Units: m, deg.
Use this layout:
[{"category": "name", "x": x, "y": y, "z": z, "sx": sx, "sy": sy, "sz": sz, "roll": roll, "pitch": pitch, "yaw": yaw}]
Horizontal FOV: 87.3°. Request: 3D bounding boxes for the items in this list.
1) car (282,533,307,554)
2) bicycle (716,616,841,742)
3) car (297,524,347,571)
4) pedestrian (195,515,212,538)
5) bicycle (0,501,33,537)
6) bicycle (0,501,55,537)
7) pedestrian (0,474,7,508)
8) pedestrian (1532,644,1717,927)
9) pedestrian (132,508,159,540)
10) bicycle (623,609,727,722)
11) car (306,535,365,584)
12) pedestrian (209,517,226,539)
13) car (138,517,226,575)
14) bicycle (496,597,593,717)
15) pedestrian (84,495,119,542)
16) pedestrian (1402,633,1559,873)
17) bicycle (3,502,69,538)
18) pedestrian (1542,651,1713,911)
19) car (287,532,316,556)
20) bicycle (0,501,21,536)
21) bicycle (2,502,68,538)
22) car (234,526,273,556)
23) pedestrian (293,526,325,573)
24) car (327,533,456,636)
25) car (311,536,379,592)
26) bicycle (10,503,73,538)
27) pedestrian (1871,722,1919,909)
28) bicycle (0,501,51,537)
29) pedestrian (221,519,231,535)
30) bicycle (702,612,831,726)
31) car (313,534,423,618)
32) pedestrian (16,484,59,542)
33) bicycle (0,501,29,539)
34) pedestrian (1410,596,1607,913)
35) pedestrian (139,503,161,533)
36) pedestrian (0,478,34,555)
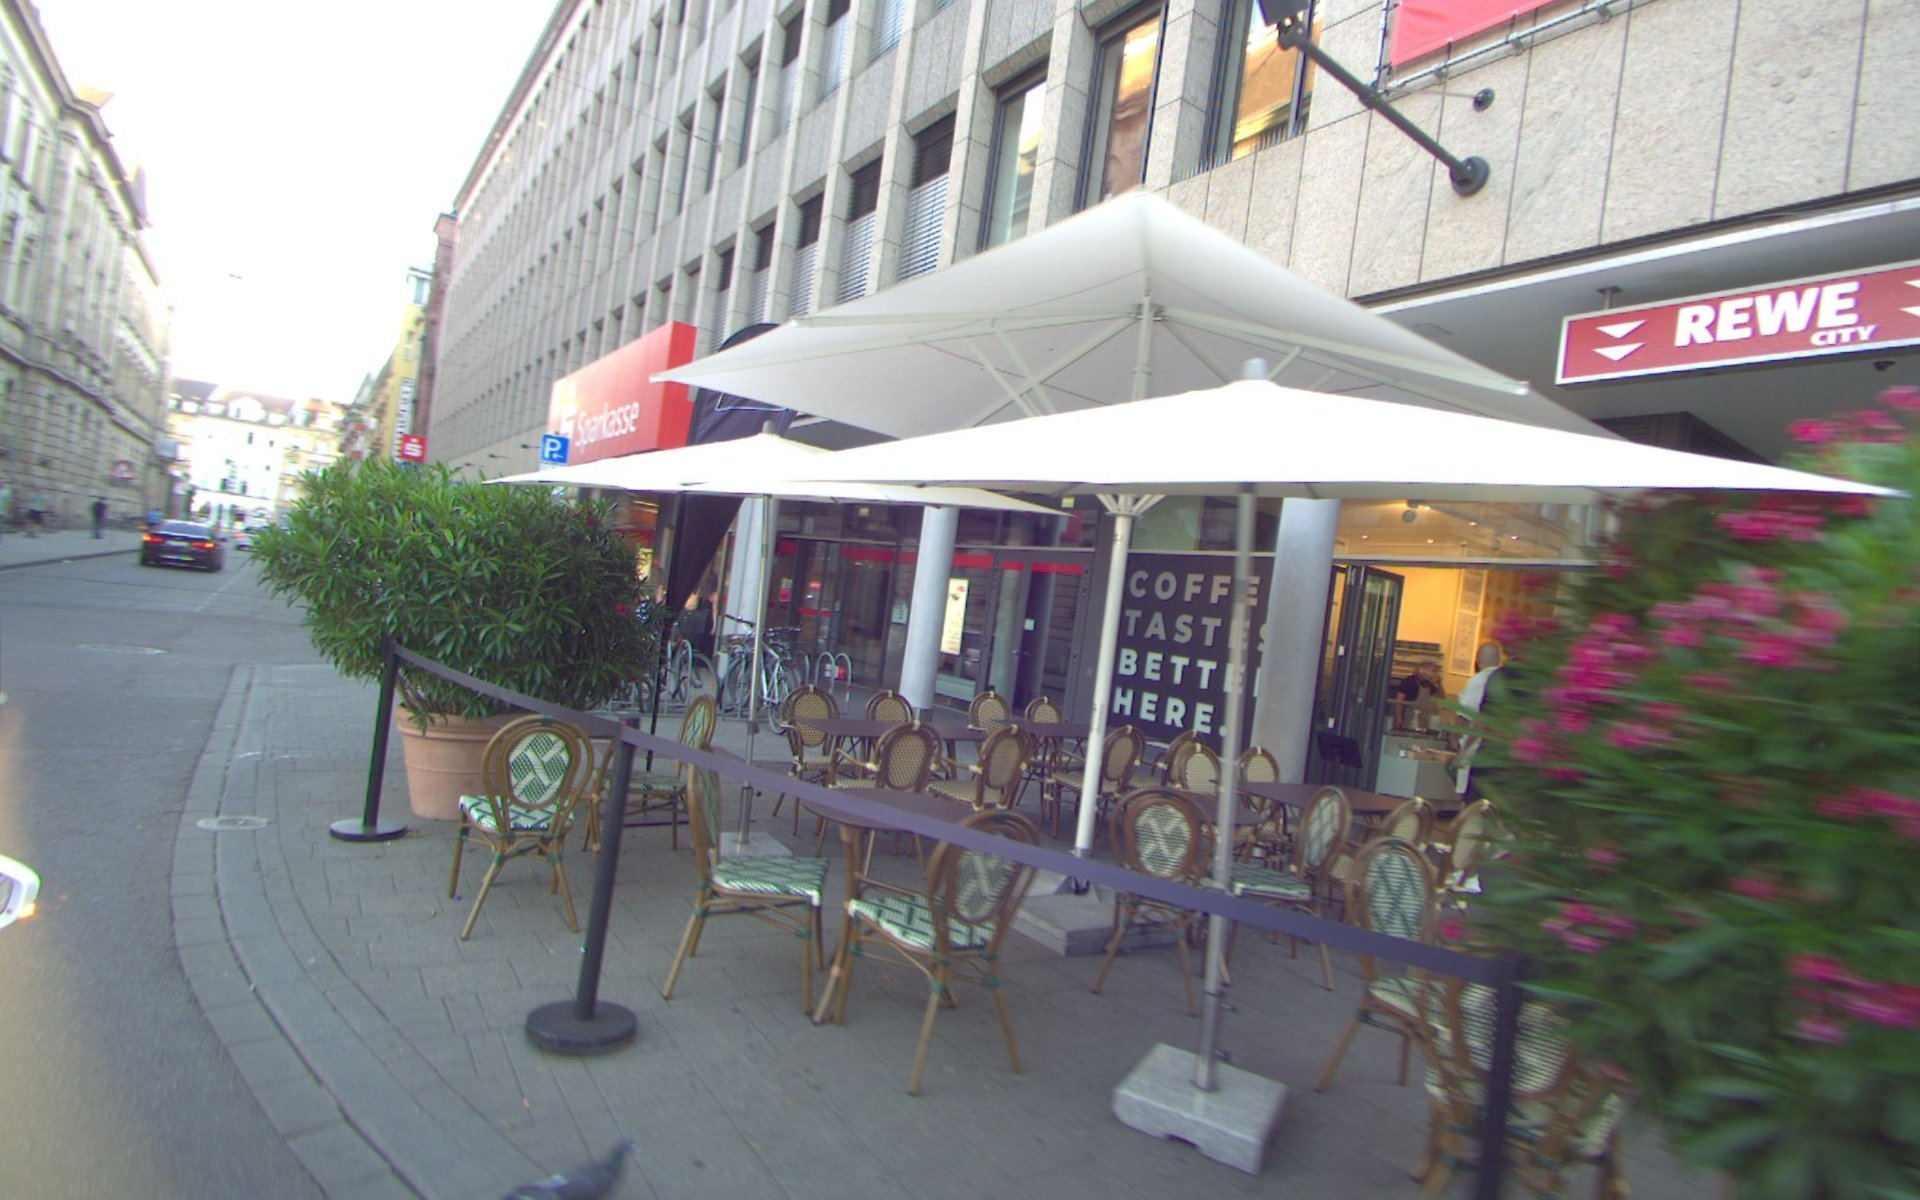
[{"category": "car", "x": -58.914, "y": -4.983, "z": 89.079, "sx": 1.636, "sy": 1.539, "sz": 3.254, "roll": 11, "pitch": -3, "yaw": -34}, {"category": "bicycle", "x": -2.018, "y": 0.829, "z": 10.967, "sx": 0.541, "sy": 1.131, "sz": 1.796, "roll": 6, "pitch": 0, "yaw": -35}, {"category": "car", "x": -33.665, "y": -2.789, "z": 53.064, "sx": 1.861, "sy": 2.040, "sz": 3.731, "roll": 11, "pitch": -3, "yaw": -34}, {"category": "pedestrian", "x": -66.473, "y": -6.460, "z": 88.393, "sx": 0.930, "sy": 1.770, "sz": 0.802, "roll": 12, "pitch": -3, "yaw": -38}, {"category": "bicycle", "x": -32.319, "y": -2.805, "z": 33.726, "sx": 1.672, "sy": 1.053, "sz": 0.482, "roll": 11, "pitch": -2, "yaw": -36}, {"category": "bicycle", "x": -34.389, "y": -2.979, "z": 36.863, "sx": 1.672, "sy": 1.053, "sz": 0.482, "roll": 11, "pitch": -2, "yaw": -36}, {"category": "pedestrian", "x": -22.148, "y": -2.005, "z": 22.593, "sx": 0.695, "sy": 1.831, "sz": 0.965, "roll": 12, "pitch": -3, "yaw": -37}, {"category": "pedestrian", "x": 4.669, "y": 1.281, "z": 7.082, "sx": 0.713, "sy": 1.808, "sz": 0.659, "roll": 8, "pitch": 1, "yaw": -34}, {"category": "pedestrian", "x": -47.204, "y": -4.403, "z": 58.338, "sx": 0.930, "sy": 1.653, "sz": 0.648, "roll": 12, "pitch": -3, "yaw": -37}, {"category": "bicycle", "x": -3.222, "y": 0.706, "z": 11.285, "sx": 0.555, "sy": 1.054, "sz": 1.670, "roll": 6, "pitch": 0, "yaw": -33}, {"category": "car", "x": -24.554, "y": -1.619, "z": 39.495, "sx": 1.636, "sy": 1.539, "sz": 3.254, "roll": 11, "pitch": -3, "yaw": -34}, {"category": "pedestrian", "x": -65.920, "y": -6.354, "z": 89.320, "sx": 0.930, "sy": 1.770, "sz": 0.802, "roll": 12, "pitch": -3, "yaw": -38}, {"category": "car", "x": -23.407, "y": -1.629, "z": 30.386, "sx": 1.760, "sy": 1.426, "sz": 4.014, "roll": 8, "pitch": -1, "yaw": -35}, {"category": "bicycle", "x": -4.382, "y": 0.570, "z": 10.555, "sx": 0.555, "sy": 1.054, "sz": 1.670, "roll": 6, "pitch": 0, "yaw": -33}, {"category": "pedestrian", "x": -35.602, "y": -3.379, "z": 41.730, "sx": 0.801, "sy": 1.770, "sz": 0.802, "roll": 12, "pitch": -3, "yaw": -37}, {"category": "pedestrian", "x": 4.379, "y": 1.281, "z": 8.483, "sx": 0.711, "sy": 1.871, "sz": 0.660, "roll": 8, "pitch": 1, "yaw": -29}, {"category": "bicycle", "x": -35.264, "y": -3.045, "z": 38.423, "sx": 1.672, "sy": 1.053, "sz": 0.482, "roll": 11, "pitch": -2, "yaw": -36}, {"category": "pedestrian", "x": 5.099, "y": 1.360, "z": 7.692, "sx": 0.713, "sy": 1.808, "sz": 0.659, "roll": 8, "pitch": 1, "yaw": -34}, {"category": "car", "x": -50.747, "y": -4.328, "z": 77.481, "sx": 1.636, "sy": 1.539, "sz": 3.254, "roll": 11, "pitch": -3, "yaw": -34}, {"category": "bicycle", "x": -31.713, "y": -2.760, "z": 32.615, "sx": 1.672, "sy": 1.053, "sz": 0.482, "roll": 11, "pitch": -2, "yaw": -36}, {"category": "bicycle", "x": -34.973, "y": -3.018, "z": 38.067, "sx": 1.672, "sy": 1.053, "sz": 0.482, "roll": 11, "pitch": -2, "yaw": -36}, {"category": "car", "x": -43.462, "y": -3.638, "z": 61.916, "sx": 1.785, "sy": 1.528, "sz": 3.962, "roll": 9, "pitch": -1, "yaw": -35}, {"category": "pedestrian", "x": -26.428, "y": -2.029, "z": 40.842, "sx": 0.716, "sy": 1.812, "sz": 0.820, "roll": 7, "pitch": 0, "yaw": -20}, {"category": "car", "x": -11.842, "y": -0.379, "z": 20.815, "sx": 1.762, "sy": 1.654, "sz": 4.014, "roll": 11, "pitch": -3, "yaw": -35}, {"category": "car", "x": -21.084, "y": -1.249, "z": 34.414, "sx": 1.636, "sy": 1.539, "sz": 3.254, "roll": 11, "pitch": -3, "yaw": -34}, {"category": "bicycle", "x": -36.008, "y": -3.111, "z": 39.456, "sx": 1.672, "sy": 1.053, "sz": 0.482, "roll": 11, "pitch": -2, "yaw": -36}, {"category": "pedestrian", "x": 9.556, "y": 2.135, "z": 9.900, "sx": 0.612, "sy": 1.752, "sz": 0.566, "roll": 8, "pitch": 1, "yaw": -35}, {"category": "bicycle", "x": -34.185, "y": -2.965, "z": 36.456, "sx": 1.672, "sy": 1.053, "sz": 0.482, "roll": 11, "pitch": -2, "yaw": -36}, {"category": "pedestrian", "x": -88.076, "y": -8.751, "z": 120.741, "sx": 0.663, "sy": 1.770, "sz": 0.674, "roll": 12, "pitch": -3, "yaw": -38}, {"category": "bicycle", "x": -2.343, "y": 0.795, "z": 12.020, "sx": 0.543, "sy": 1.131, "sz": 1.791, "roll": 6, "pitch": 0, "yaw": -43}, {"category": "car", "x": -15.126, "y": -0.659, "z": 25.606, "sx": 1.763, "sy": 1.654, "sz": 4.048, "roll": 11, "pitch": -3, "yaw": -37}, {"category": "pedestrian", "x": -30.406, "y": -2.860, "z": 33.180, "sx": 0.716, "sy": 1.770, "sz": 0.662, "roll": 12, "pitch": -3, "yaw": -37}, {"category": "bicycle", "x": -29.252, "y": -2.507, "z": 30.248, "sx": 1.672, "sy": 1.053, "sz": 0.482, "roll": 11, "pitch": -2, "yaw": -36}, {"category": "pedestrian", "x": 3.835, "y": 1.060, "z": 7.046, "sx": 0.775, "sy": 2.038, "sz": 0.682, "roll": 8, "pitch": 1, "yaw": -34}, {"category": "pedestrian", "x": -52.278, "y": -5.312, "z": 64.921, "sx": 0.804, "sy": 1.770, "sz": 0.927, "roll": 12, "pitch": -3, "yaw": -35}, {"category": "pedestrian", "x": -23.142, "y": -2.041, "z": 24.327, "sx": 0.784, "sy": 1.770, "sz": 0.714, "roll": 12, "pitch": -3, "yaw": -37}]
